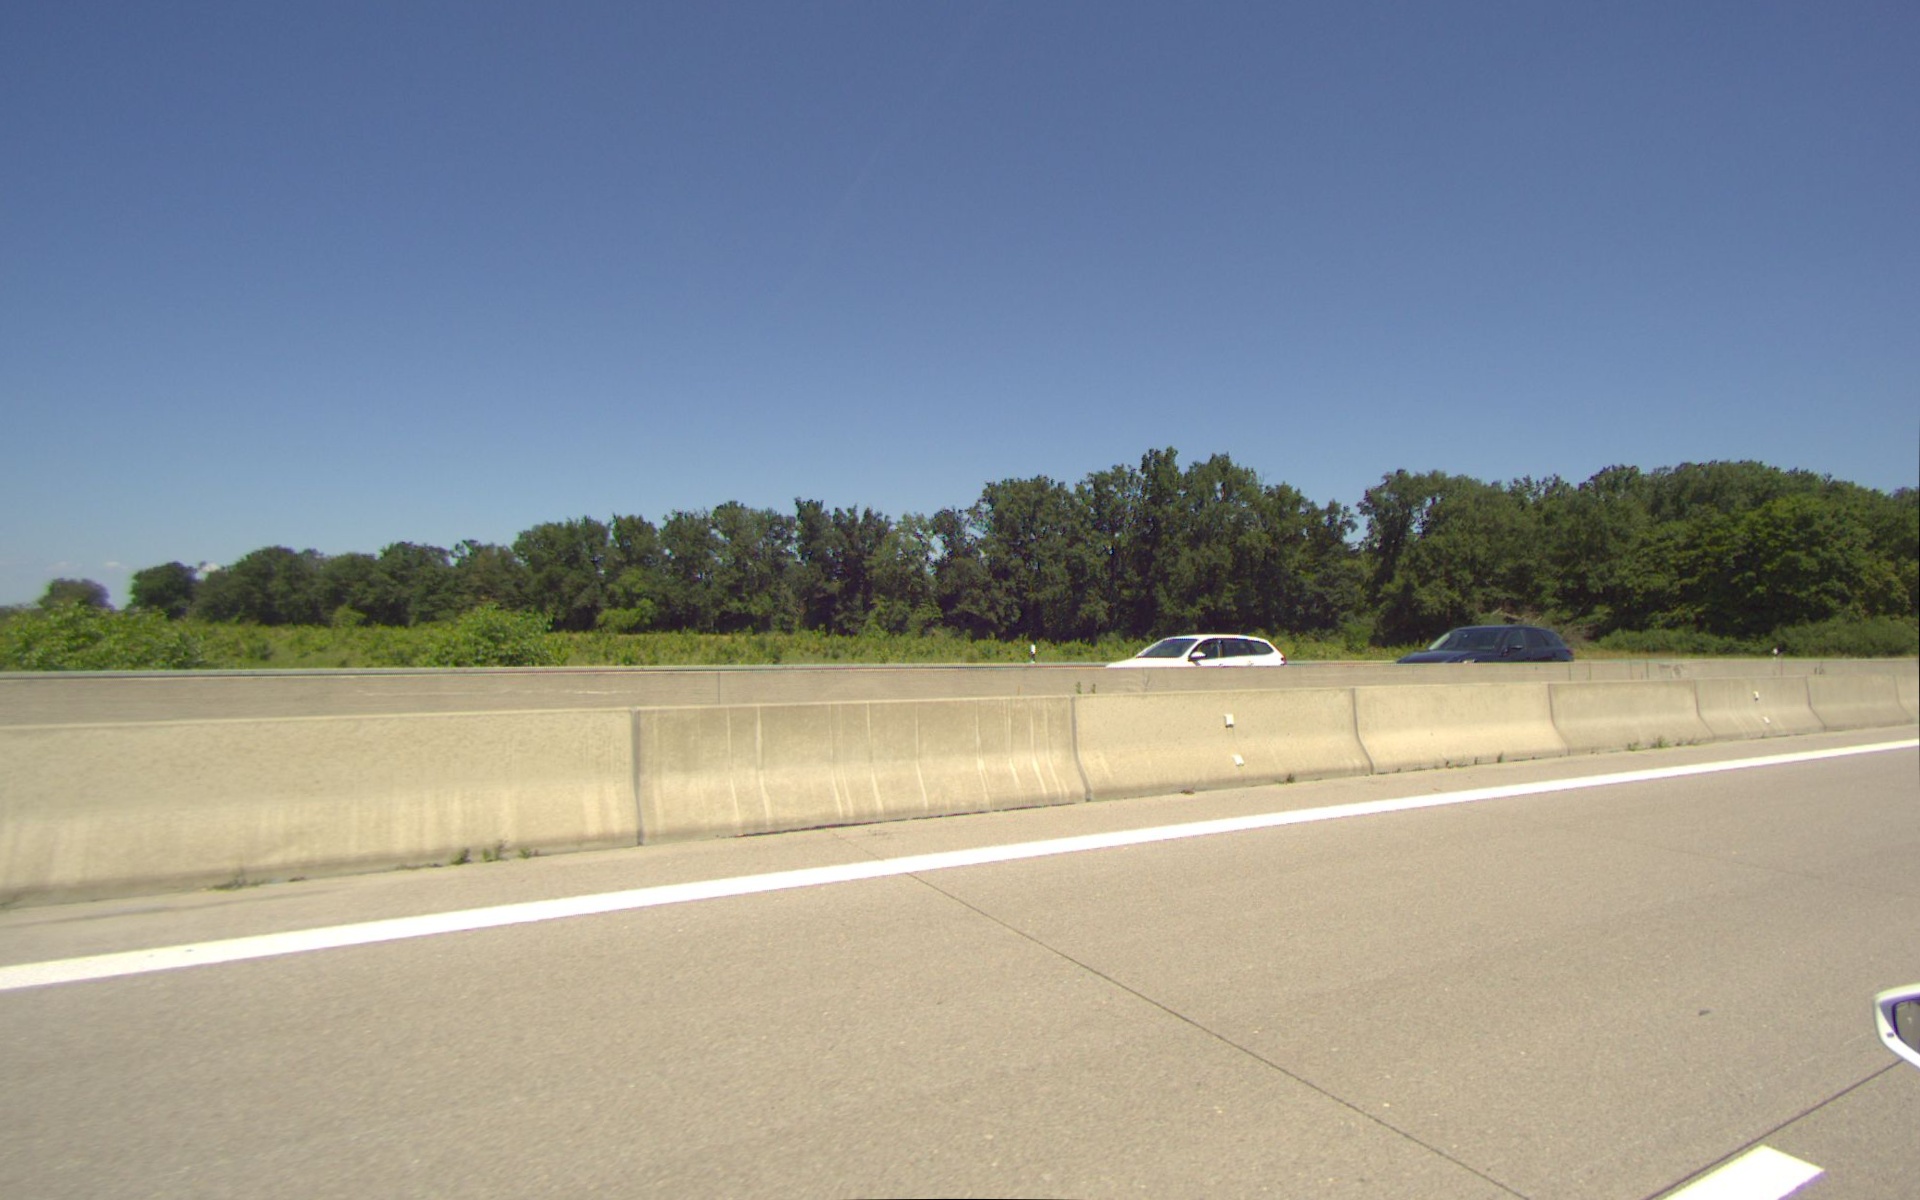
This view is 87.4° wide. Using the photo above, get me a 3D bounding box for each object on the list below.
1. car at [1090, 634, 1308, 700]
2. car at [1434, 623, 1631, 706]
[{"bbox_3d":[5.180,1.383,21.539,4.734,1.280,1.680,1,-2,-30],"label":"car"},{"bbox_3d":[12.465,1.351,21.812,4.377,1.637,1.833,2,-2,-31],"label":"car"}]
